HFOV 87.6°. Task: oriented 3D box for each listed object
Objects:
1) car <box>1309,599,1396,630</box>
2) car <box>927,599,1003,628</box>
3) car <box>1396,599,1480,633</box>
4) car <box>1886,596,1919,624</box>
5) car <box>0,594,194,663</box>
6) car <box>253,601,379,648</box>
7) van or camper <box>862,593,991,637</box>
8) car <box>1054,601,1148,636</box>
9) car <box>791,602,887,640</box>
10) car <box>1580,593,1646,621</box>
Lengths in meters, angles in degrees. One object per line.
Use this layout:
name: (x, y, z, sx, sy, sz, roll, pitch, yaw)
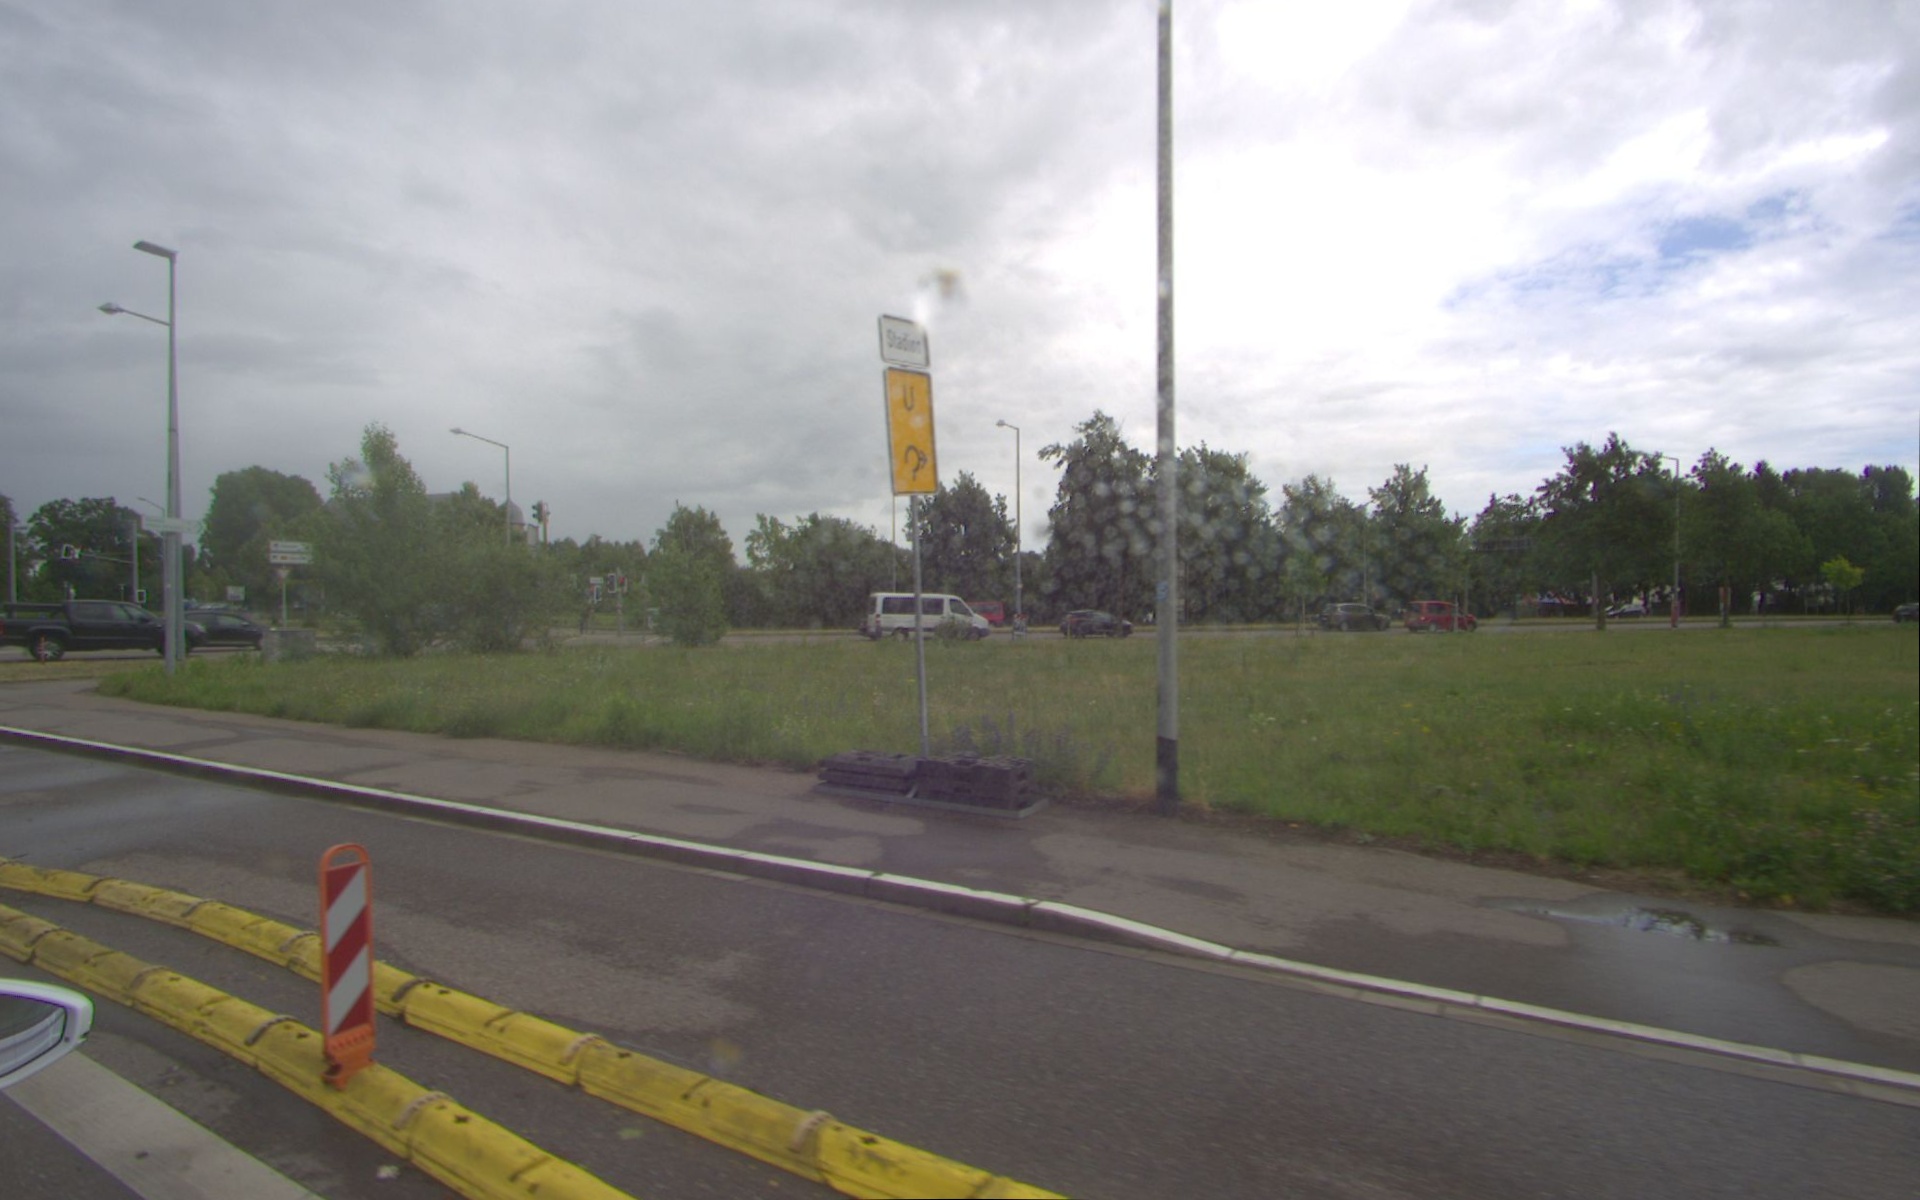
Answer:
car: (23.812, 0.858, 60.772, 4.525, 1.819, 2.112, 0, 0, -15)
car: (0.353, 0.890, 68.135, 4.802, 1.943, 2.112, 0, 0, -15)
car: (28.033, 0.919, 58.714, 4.135, 1.943, 2.111, 0, 0, -18)
car: (63.990, 0.664, 66.389, 4.135, 1.838, 2.073, 0, 0, -18)
car: (-27.310, 0.836, 31.438, 4.992, 1.998, 2.202, 0, 0, -44)
car: (-26.416, 0.984, 41.220, 3.927, 1.873, 1.997, 0, 0, -14)
van or camper: (-1.602, 0.684, 47.280, 5.789, 2.040, 1.996, 0, 0, -16)
car: (7.443, 0.976, 53.173, 4.522, 1.819, 2.113, 0, 0, -11)
car: (-5.930, 0.997, 49.047, 4.301, 1.773, 1.994, 0, 0, -22)
car: (47.568, 0.506, 72.947, 3.930, 2.040, 1.996, 0, 0, -18)
